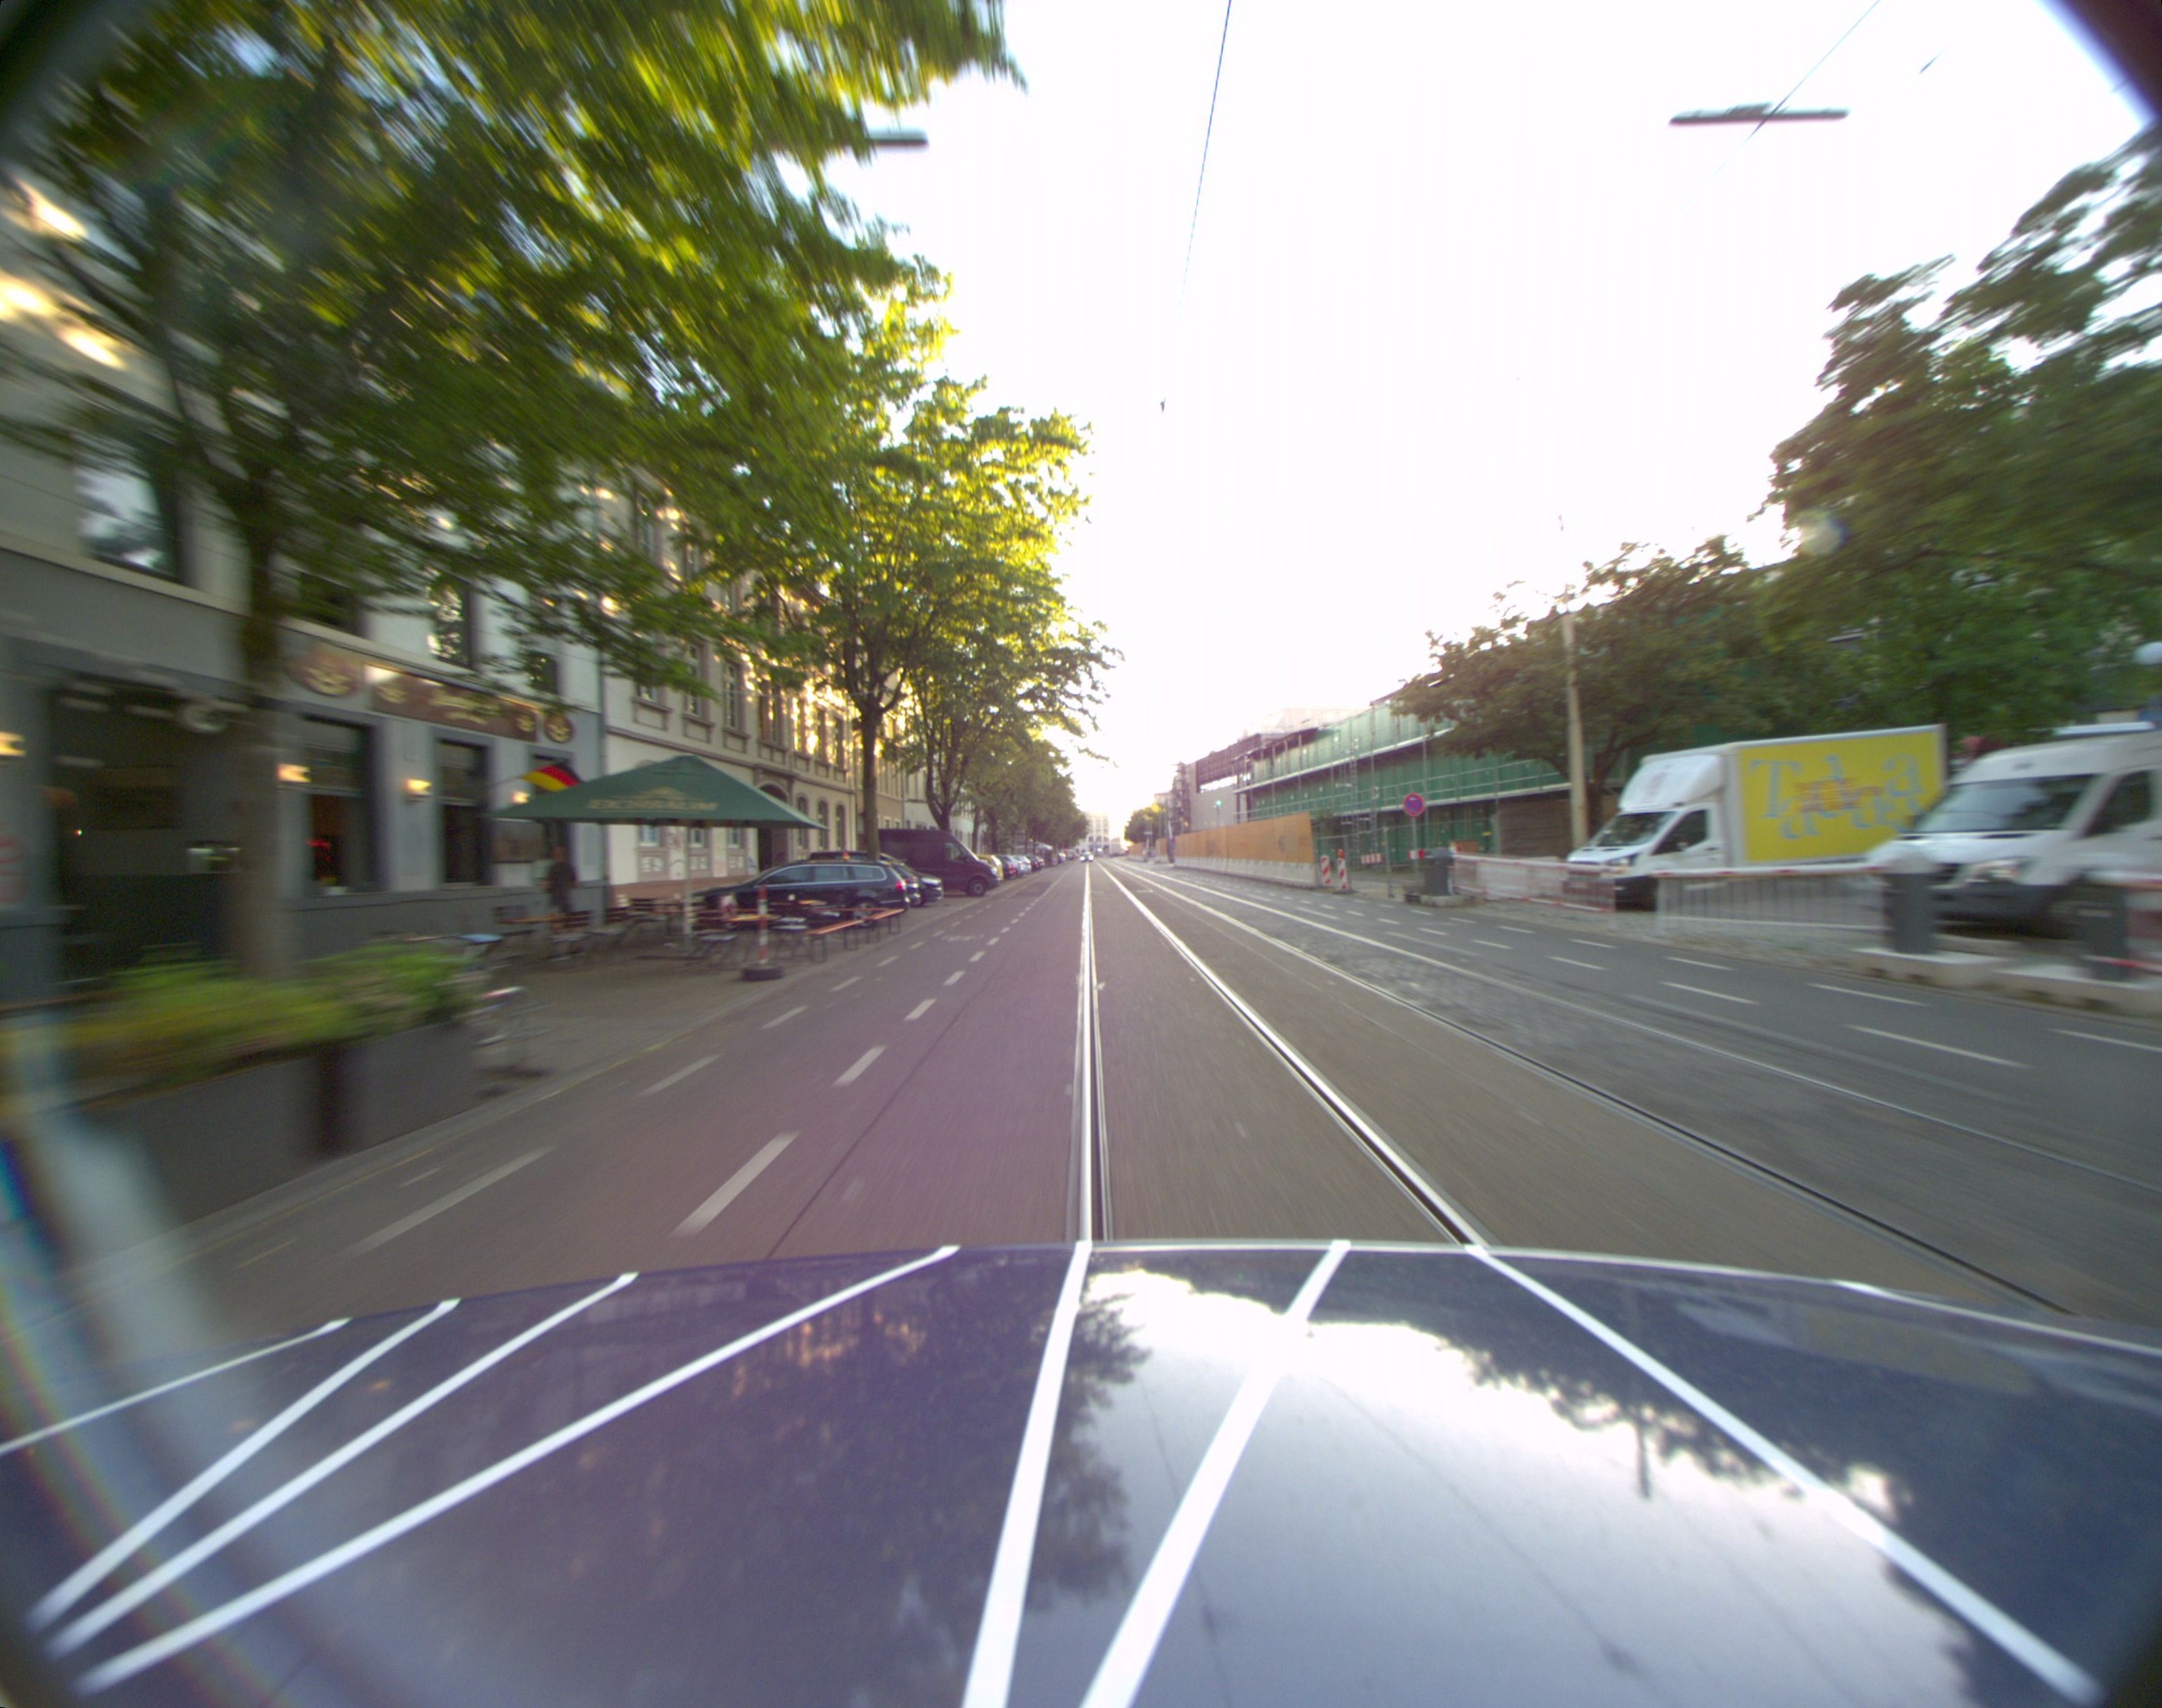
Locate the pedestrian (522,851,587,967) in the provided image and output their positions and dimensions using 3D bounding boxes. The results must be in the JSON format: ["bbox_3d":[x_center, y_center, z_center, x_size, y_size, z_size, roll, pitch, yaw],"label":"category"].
[{"bbox_3d":[-8.107,0.827,11.719,0.498,1.742,0.646,0,1,5],"label":"pedestrian"}]

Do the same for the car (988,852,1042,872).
[{"bbox_3d":[-5.148,0.627,59.150,3.997,1.566,1.720,0,0,-14],"label":"car"}]

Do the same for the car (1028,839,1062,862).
[{"bbox_3d":[-4.600,-0.451,96.869,3.997,2.811,1.720,0,0,-14],"label":"car"}]

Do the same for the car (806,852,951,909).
[{"bbox_3d":[-6.109,0.786,23.275,3.992,1.689,1.722,0,0,-1],"label":"car"}]

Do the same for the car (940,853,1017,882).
[{"bbox_3d":[-5.682,0.731,42.293,3.991,1.566,1.722,0,0,2],"label":"car"}]

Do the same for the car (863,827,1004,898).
[{"bbox_3d":[-5.757,0.300,29.655,5.236,2.605,1.925,0,1,-16],"label":"car"}]

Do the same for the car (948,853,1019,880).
[{"bbox_3d":[-5.787,0.765,45.360,3.991,1.566,1.722,0,0,2],"label":"car"}]

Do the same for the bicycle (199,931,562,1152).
[{"bbox_3d":[-4.976,1.251,5.664,0.763,1.118,2.026,-2,0,1],"label":"bicycle"}]

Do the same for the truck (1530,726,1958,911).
[{"bbox_3d":[13.958,-0.725,16.360,7.077,3.408,2.565,-2,0,-3],"label":"truck"}]

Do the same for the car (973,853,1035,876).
[{"bbox_3d":[-5.224,0.694,51.528,3.997,1.566,1.720,0,0,-14],"label":"car"}]

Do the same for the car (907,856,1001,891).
[{"bbox_3d":[-5.756,0.858,34.424,3.998,1.477,1.719,0,0,-17],"label":"car"}]

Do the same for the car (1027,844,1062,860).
[{"bbox_3d":[-4.507,-0.245,94.071,3.997,1.952,1.720,0,0,-14],"label":"car"}]

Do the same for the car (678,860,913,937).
[{"bbox_3d":[-6.229,0.901,16.764,4.643,1.508,1.807,0,-1,-26],"label":"car"}]

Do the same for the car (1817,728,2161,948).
[{"bbox_3d":[13.707,-0.256,10.385,5.233,2.582,2.229,-2,0,-3],"label":"car"}]

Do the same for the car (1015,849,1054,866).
[{"bbox_3d":[-5.159,0.397,84.031,3.997,1.760,1.720,0,0,-14],"label":"car"}]

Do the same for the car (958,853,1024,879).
[{"bbox_3d":[-5.653,0.731,47.773,3.996,1.566,1.720,0,0,-11],"label":"car"}]

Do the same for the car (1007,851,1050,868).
[{"bbox_3d":[-5.144,0.550,74.257,3.997,1.566,1.720,0,0,-14],"label":"car"}]

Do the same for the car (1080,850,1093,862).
[{"bbox_3d":[0.827,0.313,122.444,1.998,1.674,4.000,-2,0,1],"label":"car"}]

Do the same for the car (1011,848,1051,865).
[{"bbox_3d":[-5.324,0.283,80.301,3.997,1.829,1.720,0,0,-14],"label":"car"}]

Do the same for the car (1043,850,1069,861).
[{"bbox_3d":[-3.967,0.256,119.229,3.991,1.681,1.722,0,0,1],"label":"car"}]

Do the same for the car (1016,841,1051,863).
[{"bbox_3d":[-5.625,-0.208,90.192,3.991,2.551,1.722,0,0,1],"label":"car"}]

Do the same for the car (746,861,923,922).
[{"bbox_3d":[-6.206,0.916,19.498,4.121,1.444,1.808,0,0,-15],"label":"car"}]

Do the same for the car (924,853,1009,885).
[{"bbox_3d":[-5.748,0.743,38.436,3.991,1.589,1.722,0,0,2],"label":"car"}]
